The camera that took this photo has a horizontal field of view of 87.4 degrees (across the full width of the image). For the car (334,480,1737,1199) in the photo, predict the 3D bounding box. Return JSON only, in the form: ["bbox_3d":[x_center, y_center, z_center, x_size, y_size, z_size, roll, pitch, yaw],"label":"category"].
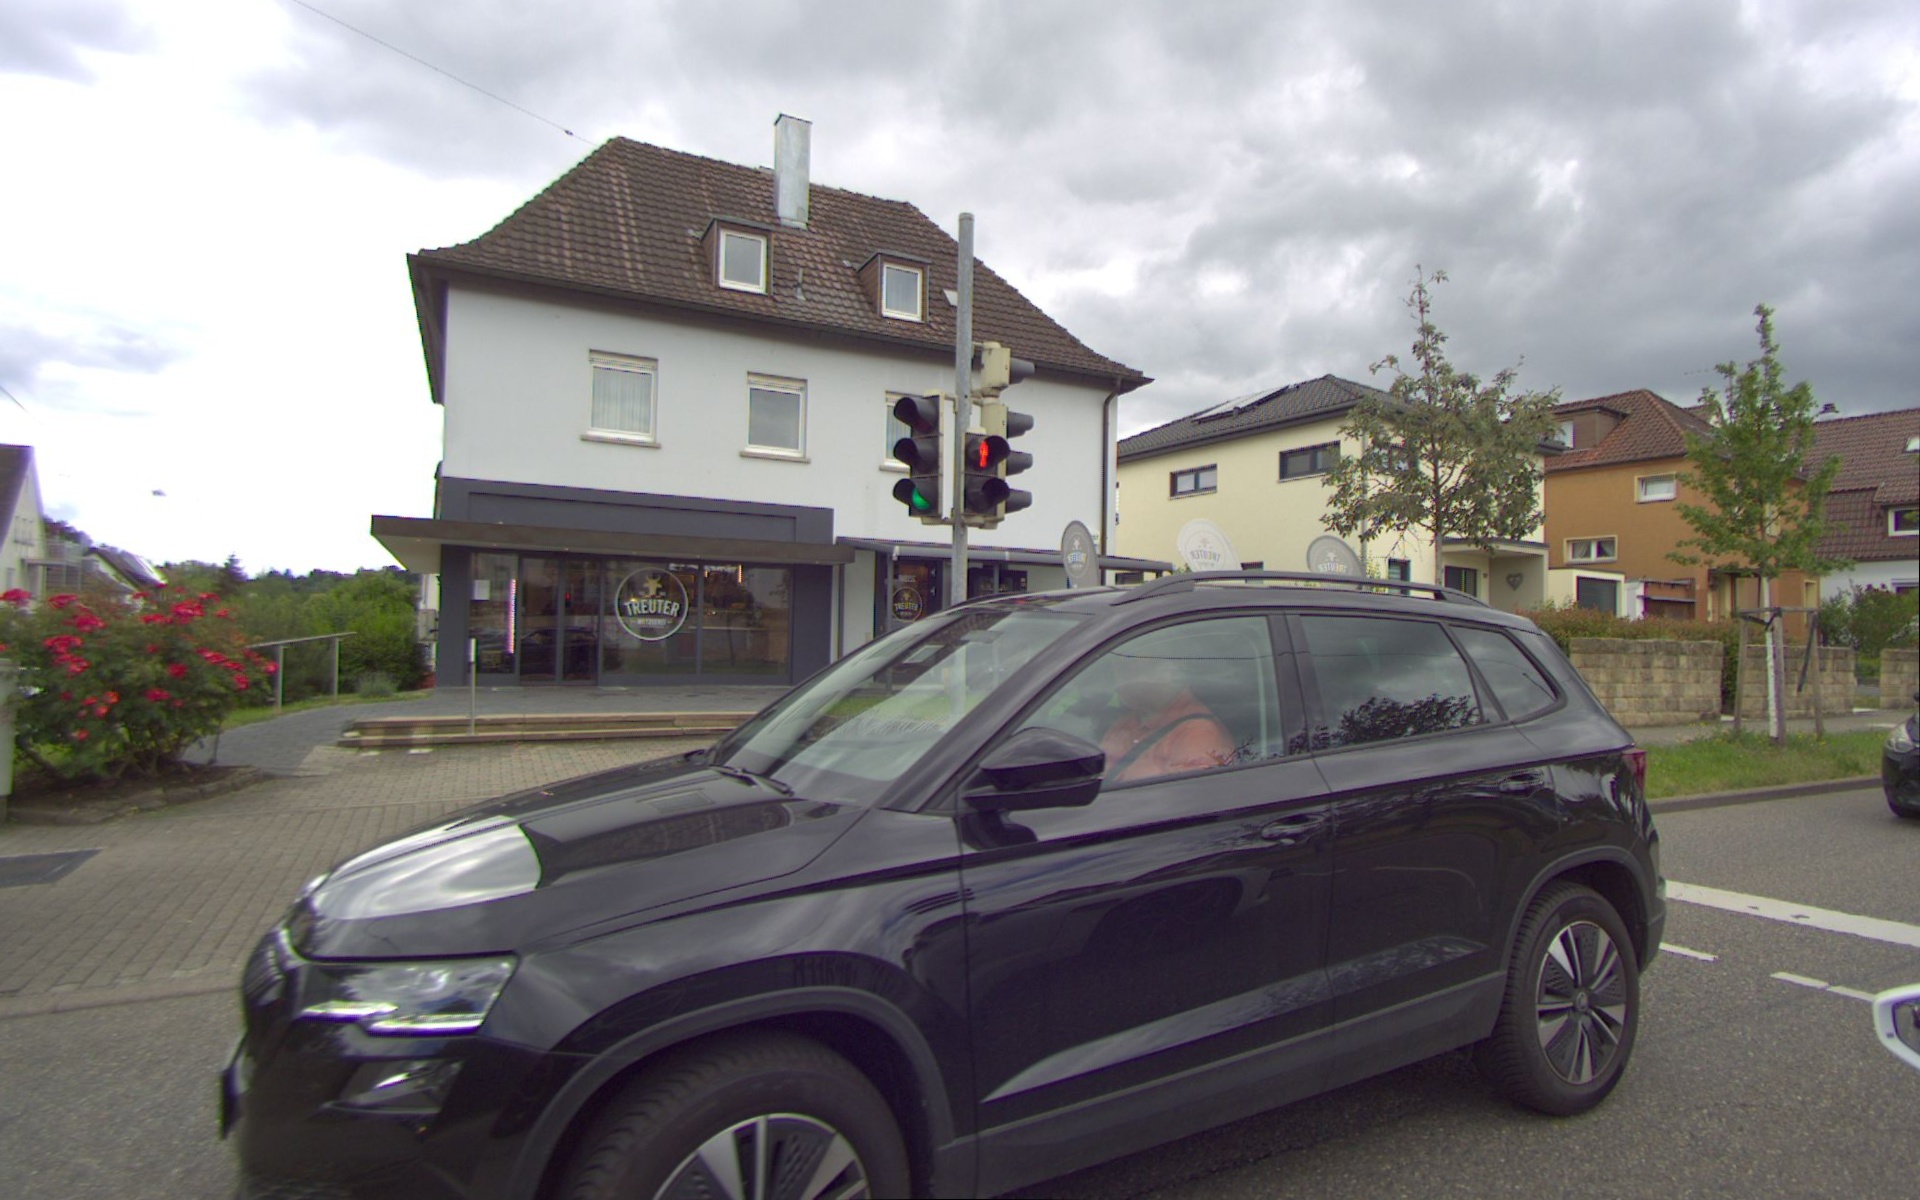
[{"bbox_3d":[0.393,0.716,3.260,3.949,1.645,1.888,1,-3,-28],"label":"car"}]

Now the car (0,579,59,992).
[{"bbox_3d":[-6.190,0.710,3.556,4.553,1.642,2.002,0,-2,9],"label":"car"}]

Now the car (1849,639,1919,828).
[{"bbox_3d":[9.522,1.077,8.459,3.947,1.491,1.611,1,-4,-26],"label":"car"}]
